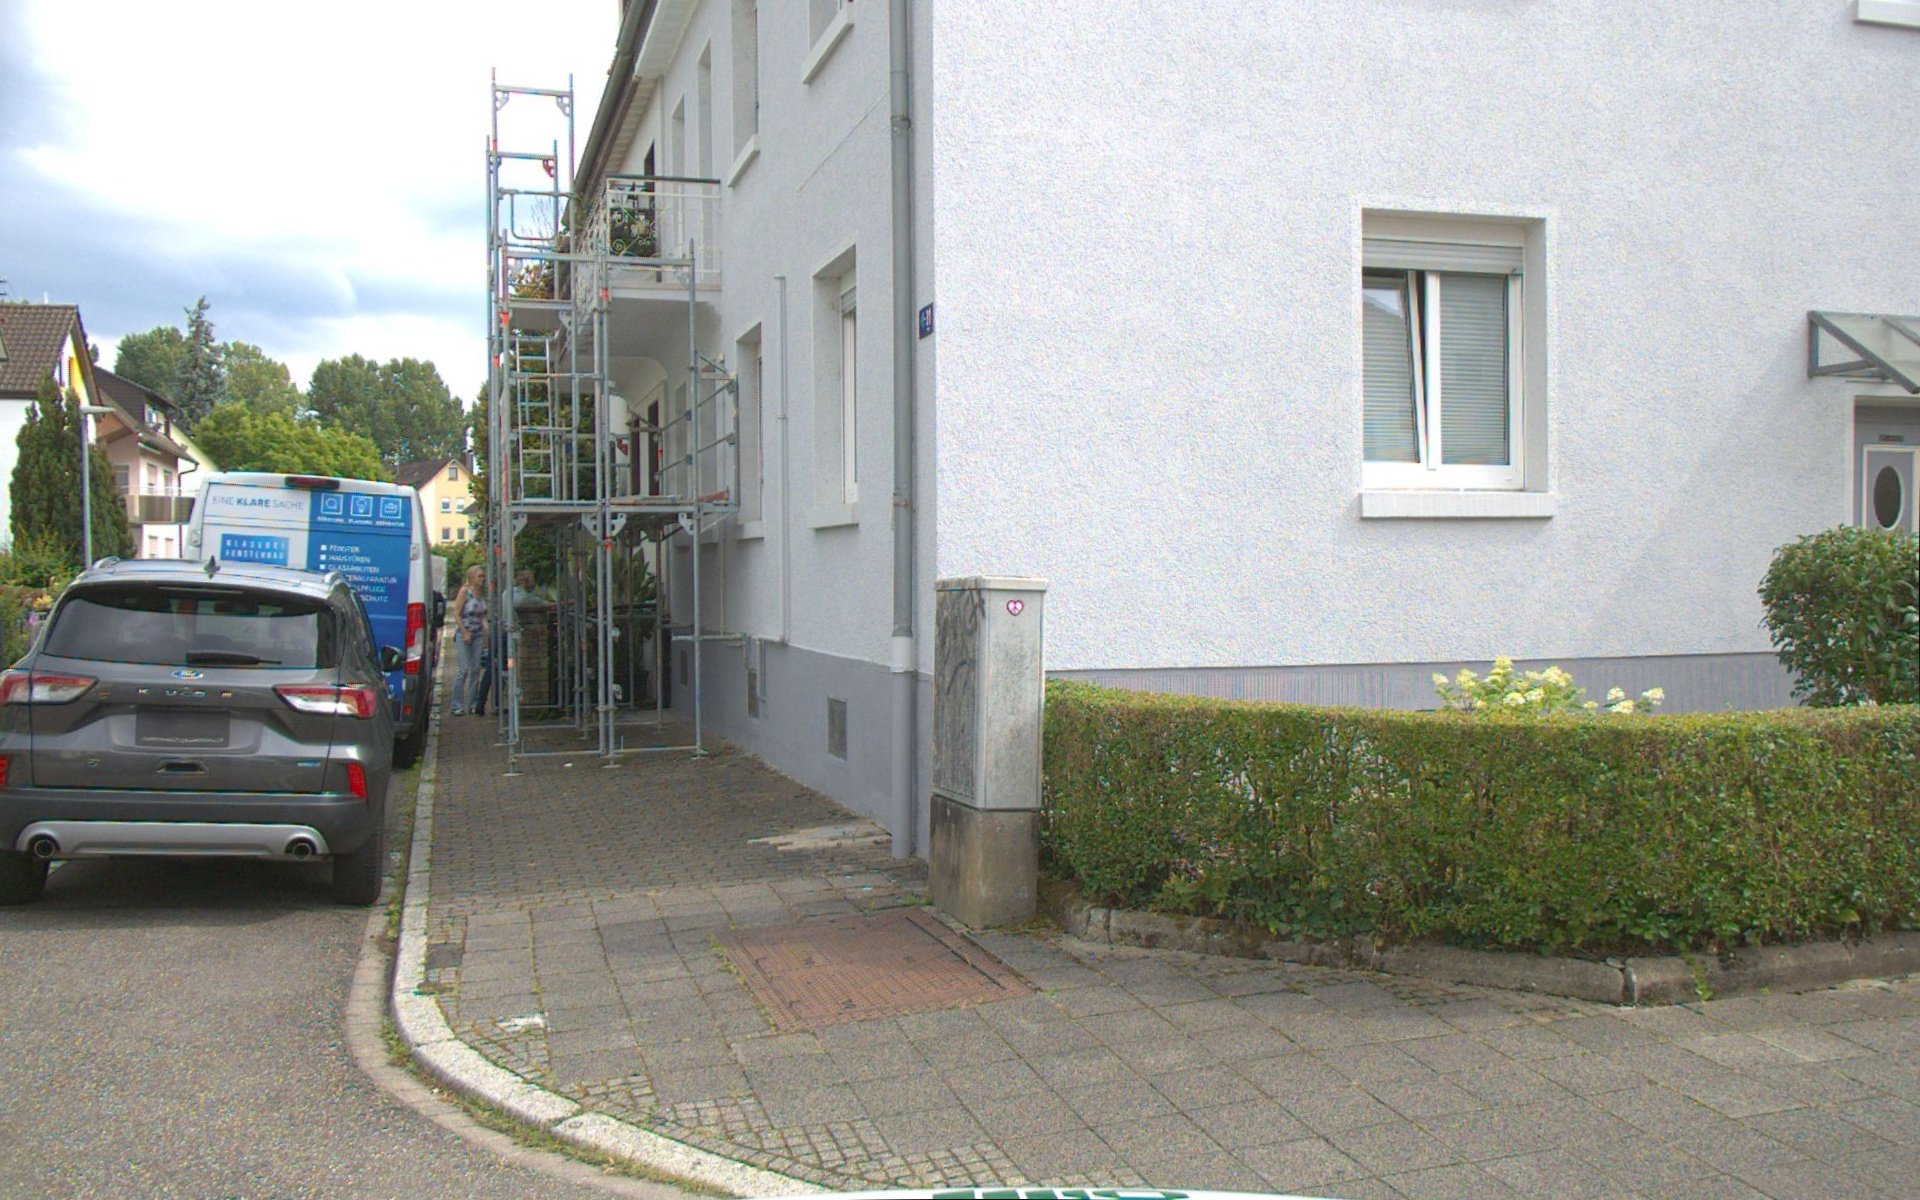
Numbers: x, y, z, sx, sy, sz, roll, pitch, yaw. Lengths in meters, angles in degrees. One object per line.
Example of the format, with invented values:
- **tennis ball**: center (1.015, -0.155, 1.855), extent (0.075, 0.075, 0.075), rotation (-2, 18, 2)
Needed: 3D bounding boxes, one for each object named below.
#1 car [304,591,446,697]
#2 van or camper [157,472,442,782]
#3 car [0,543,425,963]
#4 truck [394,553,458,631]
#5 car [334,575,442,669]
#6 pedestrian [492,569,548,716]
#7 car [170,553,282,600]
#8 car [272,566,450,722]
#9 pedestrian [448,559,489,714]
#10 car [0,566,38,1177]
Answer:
- **car**: center (-9.375, 0.636, 26.550), extent (1.964, 1.481, 4.317), rotation (-1, 1, -20)
- **van or camper**: center (-6.199, 0.165, 16.104), extent (2.158, 2.502, 5.029), rotation (-1, 1, -18)
- **car**: center (-4.101, 0.612, 9.258), extent (1.964, 1.757, 4.317), rotation (-1, 1, -20)
- **truck**: center (-19.572, -0.318, 60.534), extent (2.098, 2.703, 4.559), rotation (-1, 1, -19)
- **car**: center (-11.855, 0.392, 34.258), extent (1.964, 1.780, 4.317), rotation (-1, 1, -20)
- **pedestrian**: center (-5.084, 0.479, 19.092), extent (0.591, 1.658, 0.622), rotation (-1, -1, -17)
- **car**: center (-29.351, -0.934, 66.238), extent (3.930, 1.803, 1.858), rotation (-1, 0, -21)
- **car**: center (-7.843, 0.477, 21.752), extent (1.964, 1.803, 4.317), rotation (-1, 1, -20)
- **pedestrian**: center (-5.815, 0.428, 19.544), extent (0.401, 1.793, 0.510), rotation (-1, -1, -21)
- **car**: center (-2.935, 0.682, 2.302), extent (1.784, 1.546, 4.030), rotation (0, 0, -12)
